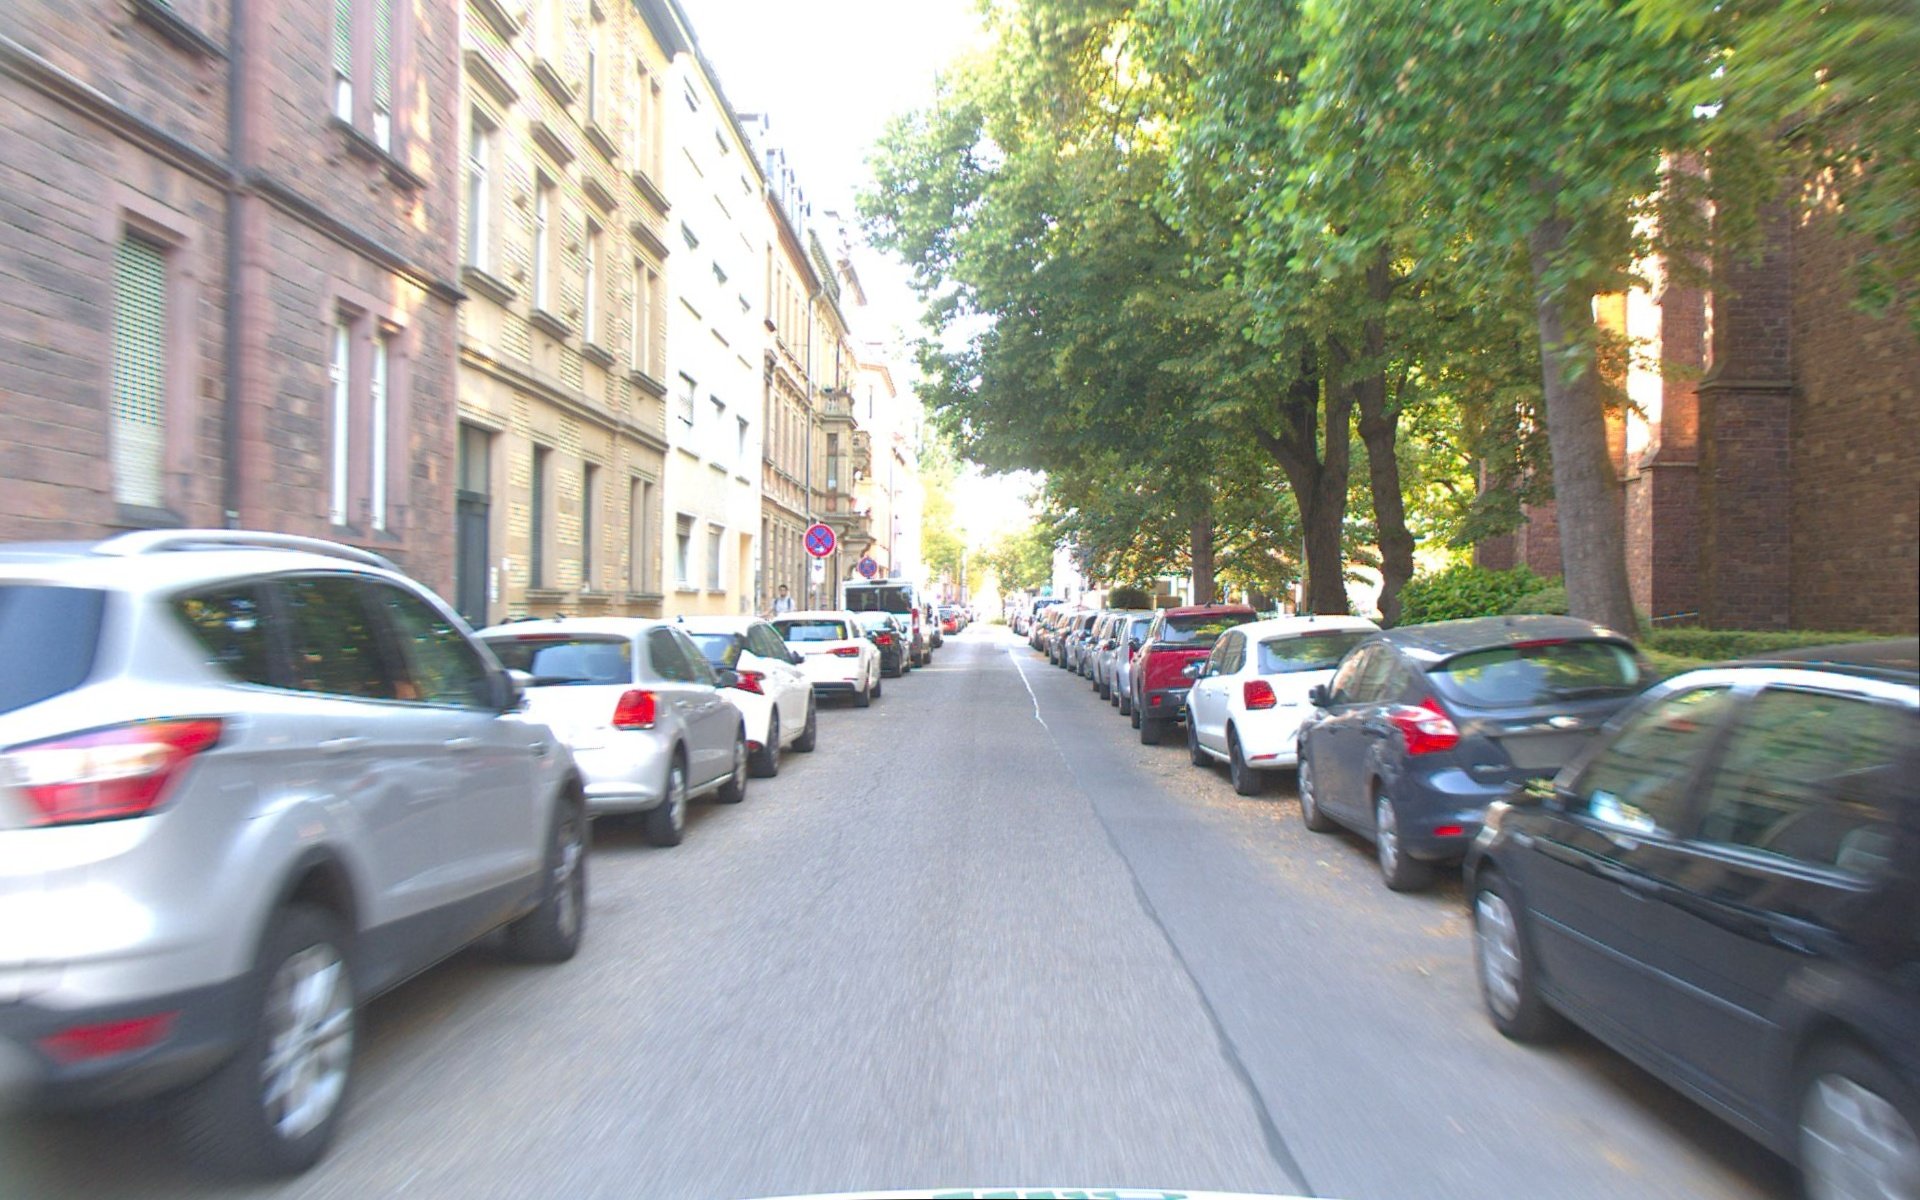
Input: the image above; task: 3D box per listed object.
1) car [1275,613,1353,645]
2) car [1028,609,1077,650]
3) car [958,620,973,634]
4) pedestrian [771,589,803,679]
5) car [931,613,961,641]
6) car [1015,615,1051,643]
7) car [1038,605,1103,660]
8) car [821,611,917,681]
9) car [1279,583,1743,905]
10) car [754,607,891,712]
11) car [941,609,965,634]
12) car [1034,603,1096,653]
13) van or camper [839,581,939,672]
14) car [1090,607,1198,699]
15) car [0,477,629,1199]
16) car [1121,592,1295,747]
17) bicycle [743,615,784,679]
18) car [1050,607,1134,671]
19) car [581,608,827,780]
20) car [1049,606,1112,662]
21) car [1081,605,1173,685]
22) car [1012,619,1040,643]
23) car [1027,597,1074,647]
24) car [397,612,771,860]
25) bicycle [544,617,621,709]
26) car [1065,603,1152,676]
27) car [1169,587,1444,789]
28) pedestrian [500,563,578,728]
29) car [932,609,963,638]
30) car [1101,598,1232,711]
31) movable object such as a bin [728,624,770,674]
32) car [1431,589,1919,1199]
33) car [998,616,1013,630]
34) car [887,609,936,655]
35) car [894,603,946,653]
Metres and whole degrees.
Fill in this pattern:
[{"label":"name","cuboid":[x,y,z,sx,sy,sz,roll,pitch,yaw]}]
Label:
[{"label":"car","cuboid":[17.886,1.469,83.715,3.772,1.499,1.634,1,-3,8]},{"label":"car","cuboid":[3.632,1.159,65.655,1.684,1.598,3.827,0,-1,-1]},{"label":"car","cuboid":[0.665,3.033,187.252,1.641,1.513,4.094,-2,-1,0]},{"label":"pedestrian","cuboid":[-3.610,0.700,34.506,0.478,1.835,1.115,2,-1,0]},{"label":"car","cuboid":[-0.768,1.503,93.658,1.595,1.507,3.601,-2,-1,0]},{"label":"car","cuboid":[4.100,1.624,93.315,1.709,1.533,4.356,-2,-1,-2]},{"label":"car","cuboid":[3.614,1.093,54.757,1.587,1.653,3.861,-4,-1,-3]},{"label":"car","cuboid":[-1.977,0.991,37.184,1.695,1.426,4.316,-2,-1,2]},{"label":"car","cuboid":[3.249,0.791,10.622,1.630,1.546,4.061,-5,-1,2]},{"label":"car","cuboid":[-2.101,0.899,26.423,1.695,1.481,4.521,-2,-1,1]},{"label":"car","cuboid":[-0.546,1.649,127.939,1.729,1.816,4.039,-2,-1,0]},{"label":"car","cuboid":[3.809,1.057,60.565,1.705,1.631,4.261,-4,-1,-3]},{"label":"van or camper","cuboid":[-1.794,0.677,43.594,2.131,2.185,5.155,-2,-1,2]},{"label":"car","cuboid":[3.278,0.948,30.022,1.566,1.496,3.869,-2,-1,1]},{"label":"car","cuboid":[-2.464,0.676,5.526,1.673,1.703,4.278,-2,-1,2]},{"label":"car","cuboid":[2.980,0.825,20.599,1.630,1.613,4.101,-5,-1,3]},{"label":"bicycle","cuboid":[-4.091,0.963,34.585,0.559,1.265,1.844,3,-1,0]},{"label":"car","cuboid":[3.415,1.045,43.593,1.642,1.466,4.694,-4,-1,-1]},{"label":"car","cuboid":[-2.383,0.860,16.281,1.673,1.442,3.803,-2,-1,2]},{"label":"car","cuboid":[3.628,1.029,50.127,1.586,1.512,3.776,-4,-1,1]},{"label":"car","cuboid":[3.500,0.950,35.122,1.566,1.493,3.564,-4,-1,1]},{"label":"car","cuboid":[4.287,2.020,108.302,1.641,1.533,3.937,-2,-1,0]},{"label":"car","cuboid":[3.883,0.941,70.855,1.874,2.033,4.793,-2,-1,3]},{"label":"car","cuboid":[-2.497,0.865,11.904,1.673,1.442,3.803,-2,-1,2]},{"label":"bicycle","cuboid":[-5.113,0.837,22.505,0.559,1.168,1.844,3,-1,0]},{"label":"car","cuboid":[3.462,0.934,39.044,1.567,1.531,3.627,-4,-1,-1]},{"label":"car","cuboid":[3.128,0.782,15.710,1.631,1.546,3.950,-4,-1,-1]},{"label":"pedestrian","cuboid":[-5.122,0.546,20.175,0.750,1.962,0.763,1,-1,-3]},{"label":"car","cuboid":[-0.781,1.525,108.775,1.707,1.843,4.673,-2,-1,3]},{"label":"car","cuboid":[3.164,0.834,25.913,1.566,1.531,3.720,-4,-1,1]},{"label":"movable object such as a bin","cuboid":[-4.796,1.116,37.685,0.818,1.107,0.675,0,-2,4]},{"label":"car","cuboid":[2.773,0.723,4.864,1.588,1.461,4.002,-1,-1,0]},{"label":"car","cuboid":[5.041,2.583,183.549,1.641,1.513,3.637,-2,-1,0]},{"label":"car","cuboid":[-1.739,1.128,59.628,1.658,1.540,3.971,-2,-1,-2]},{"label":"car","cuboid":[-1.528,1.085,64.439,1.793,1.843,4.572,-2,-1,1]}]
